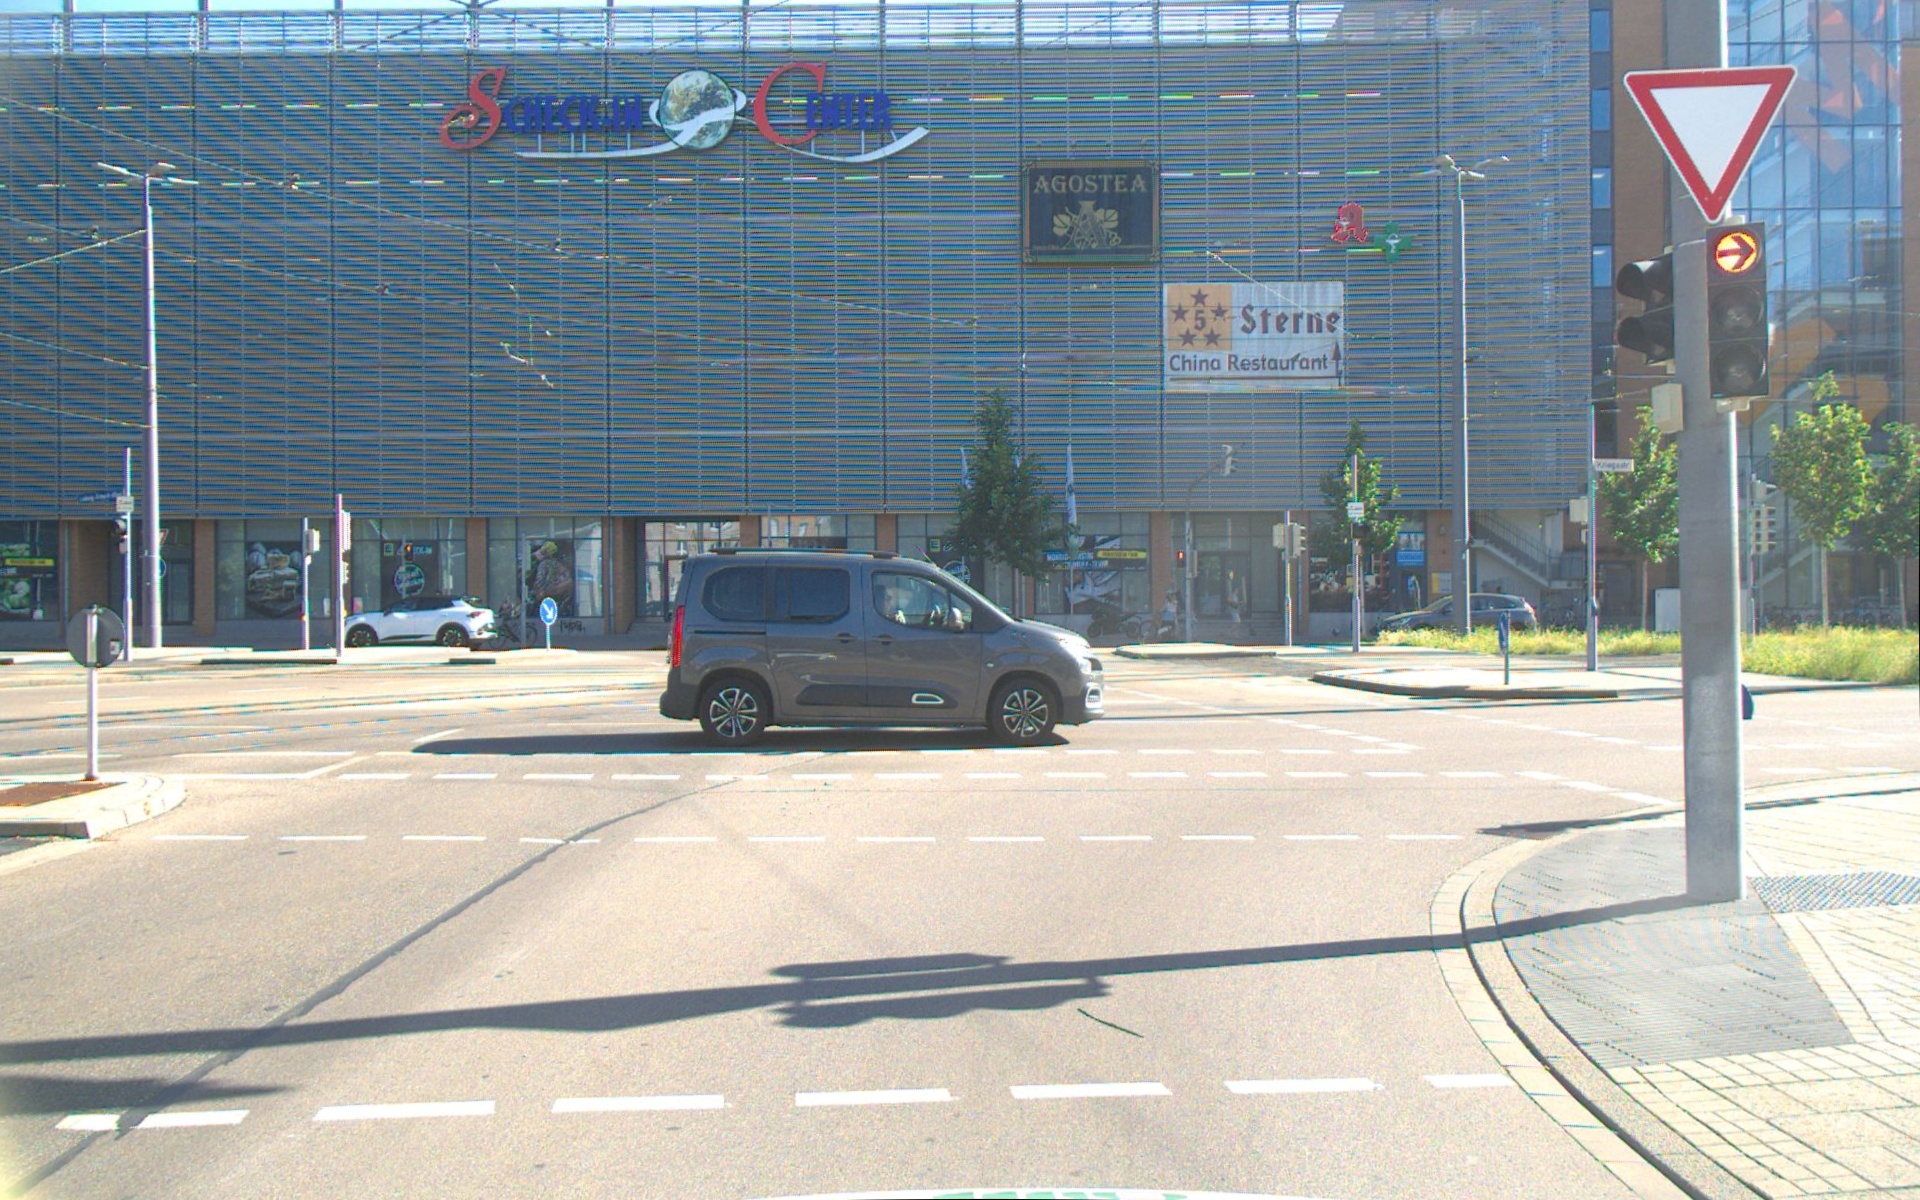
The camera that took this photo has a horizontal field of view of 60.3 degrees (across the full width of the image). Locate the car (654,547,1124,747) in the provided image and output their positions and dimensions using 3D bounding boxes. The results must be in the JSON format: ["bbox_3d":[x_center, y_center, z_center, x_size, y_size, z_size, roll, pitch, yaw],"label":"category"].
[{"bbox_3d":[-0.725,0.418,16.224,4.375,1.823,1.706,0,0,-8],"label":"car"}]

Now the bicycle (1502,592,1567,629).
[{"bbox_3d":[21.290,0.389,61.346,2.209,1.318,0.605,1,-1,-2],"label":"bicycle"}]

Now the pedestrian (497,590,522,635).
[{"bbox_3d":[-16.699,0.469,61.340,0.646,1.629,0.594,1,-1,18],"label":"pedestrian"}]

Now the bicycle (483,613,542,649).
[{"bbox_3d":[-14.766,1.007,54.615,0.559,1.105,1.852,0,2,42],"label":"bicycle"}]

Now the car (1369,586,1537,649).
[{"bbox_3d":[13.671,0.495,46.041,4.063,1.495,1.840,3,-1,-2],"label":"car"}]

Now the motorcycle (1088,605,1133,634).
[{"bbox_3d":[5.530,0.727,60.703,1.605,1.022,0.447,1,0,6],"label":"motorcycle"}]

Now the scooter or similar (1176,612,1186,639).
[{"bbox_3d":[7.367,0.833,55.185,0.288,0.888,1.004,1,0,10],"label":"scooter or similar"}]

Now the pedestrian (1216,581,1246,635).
[{"bbox_3d":[9.773,0.285,59.604,0.930,1.860,0.846,-2,-4,5],"label":"pedestrian"}]

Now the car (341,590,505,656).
[{"bbox_3d":[-15.780,0.671,48.740,4.238,1.895,1.840,0,-1,-2],"label":"car"}]

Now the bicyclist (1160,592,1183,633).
[{"bbox_3d":[7.443,0.438,58.179,0.738,1.410,0.565,-1,1,-1],"label":"bicyclist"}]

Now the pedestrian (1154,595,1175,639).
[{"bbox_3d":[6.858,0.577,55.359,0.641,1.438,0.850,1,0,10],"label":"pedestrian"}]

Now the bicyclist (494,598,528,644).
[{"bbox_3d":[-14.798,0.690,54.539,0.663,1.452,0.844,0,2,42],"label":"bicyclist"}]

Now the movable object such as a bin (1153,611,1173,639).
[{"bbox_3d":[6.742,0.831,54.892,0.599,0.920,0.970,1,0,10],"label":"movable object such as a bin"}]

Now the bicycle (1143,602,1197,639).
[{"bbox_3d":[7.387,0.713,58.184,1.819,1.238,0.569,-1,1,-2],"label":"bicycle"}]

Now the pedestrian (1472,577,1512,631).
[{"bbox_3d":[18.991,0.133,59.082,0.993,1.860,1.034,-2,0,-7],"label":"pedestrian"}]

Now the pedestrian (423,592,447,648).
[{"bbox_3d":[-17.337,0.663,54.664,0.683,1.829,0.727,-2,0,-17],"label":"pedestrian"}]
